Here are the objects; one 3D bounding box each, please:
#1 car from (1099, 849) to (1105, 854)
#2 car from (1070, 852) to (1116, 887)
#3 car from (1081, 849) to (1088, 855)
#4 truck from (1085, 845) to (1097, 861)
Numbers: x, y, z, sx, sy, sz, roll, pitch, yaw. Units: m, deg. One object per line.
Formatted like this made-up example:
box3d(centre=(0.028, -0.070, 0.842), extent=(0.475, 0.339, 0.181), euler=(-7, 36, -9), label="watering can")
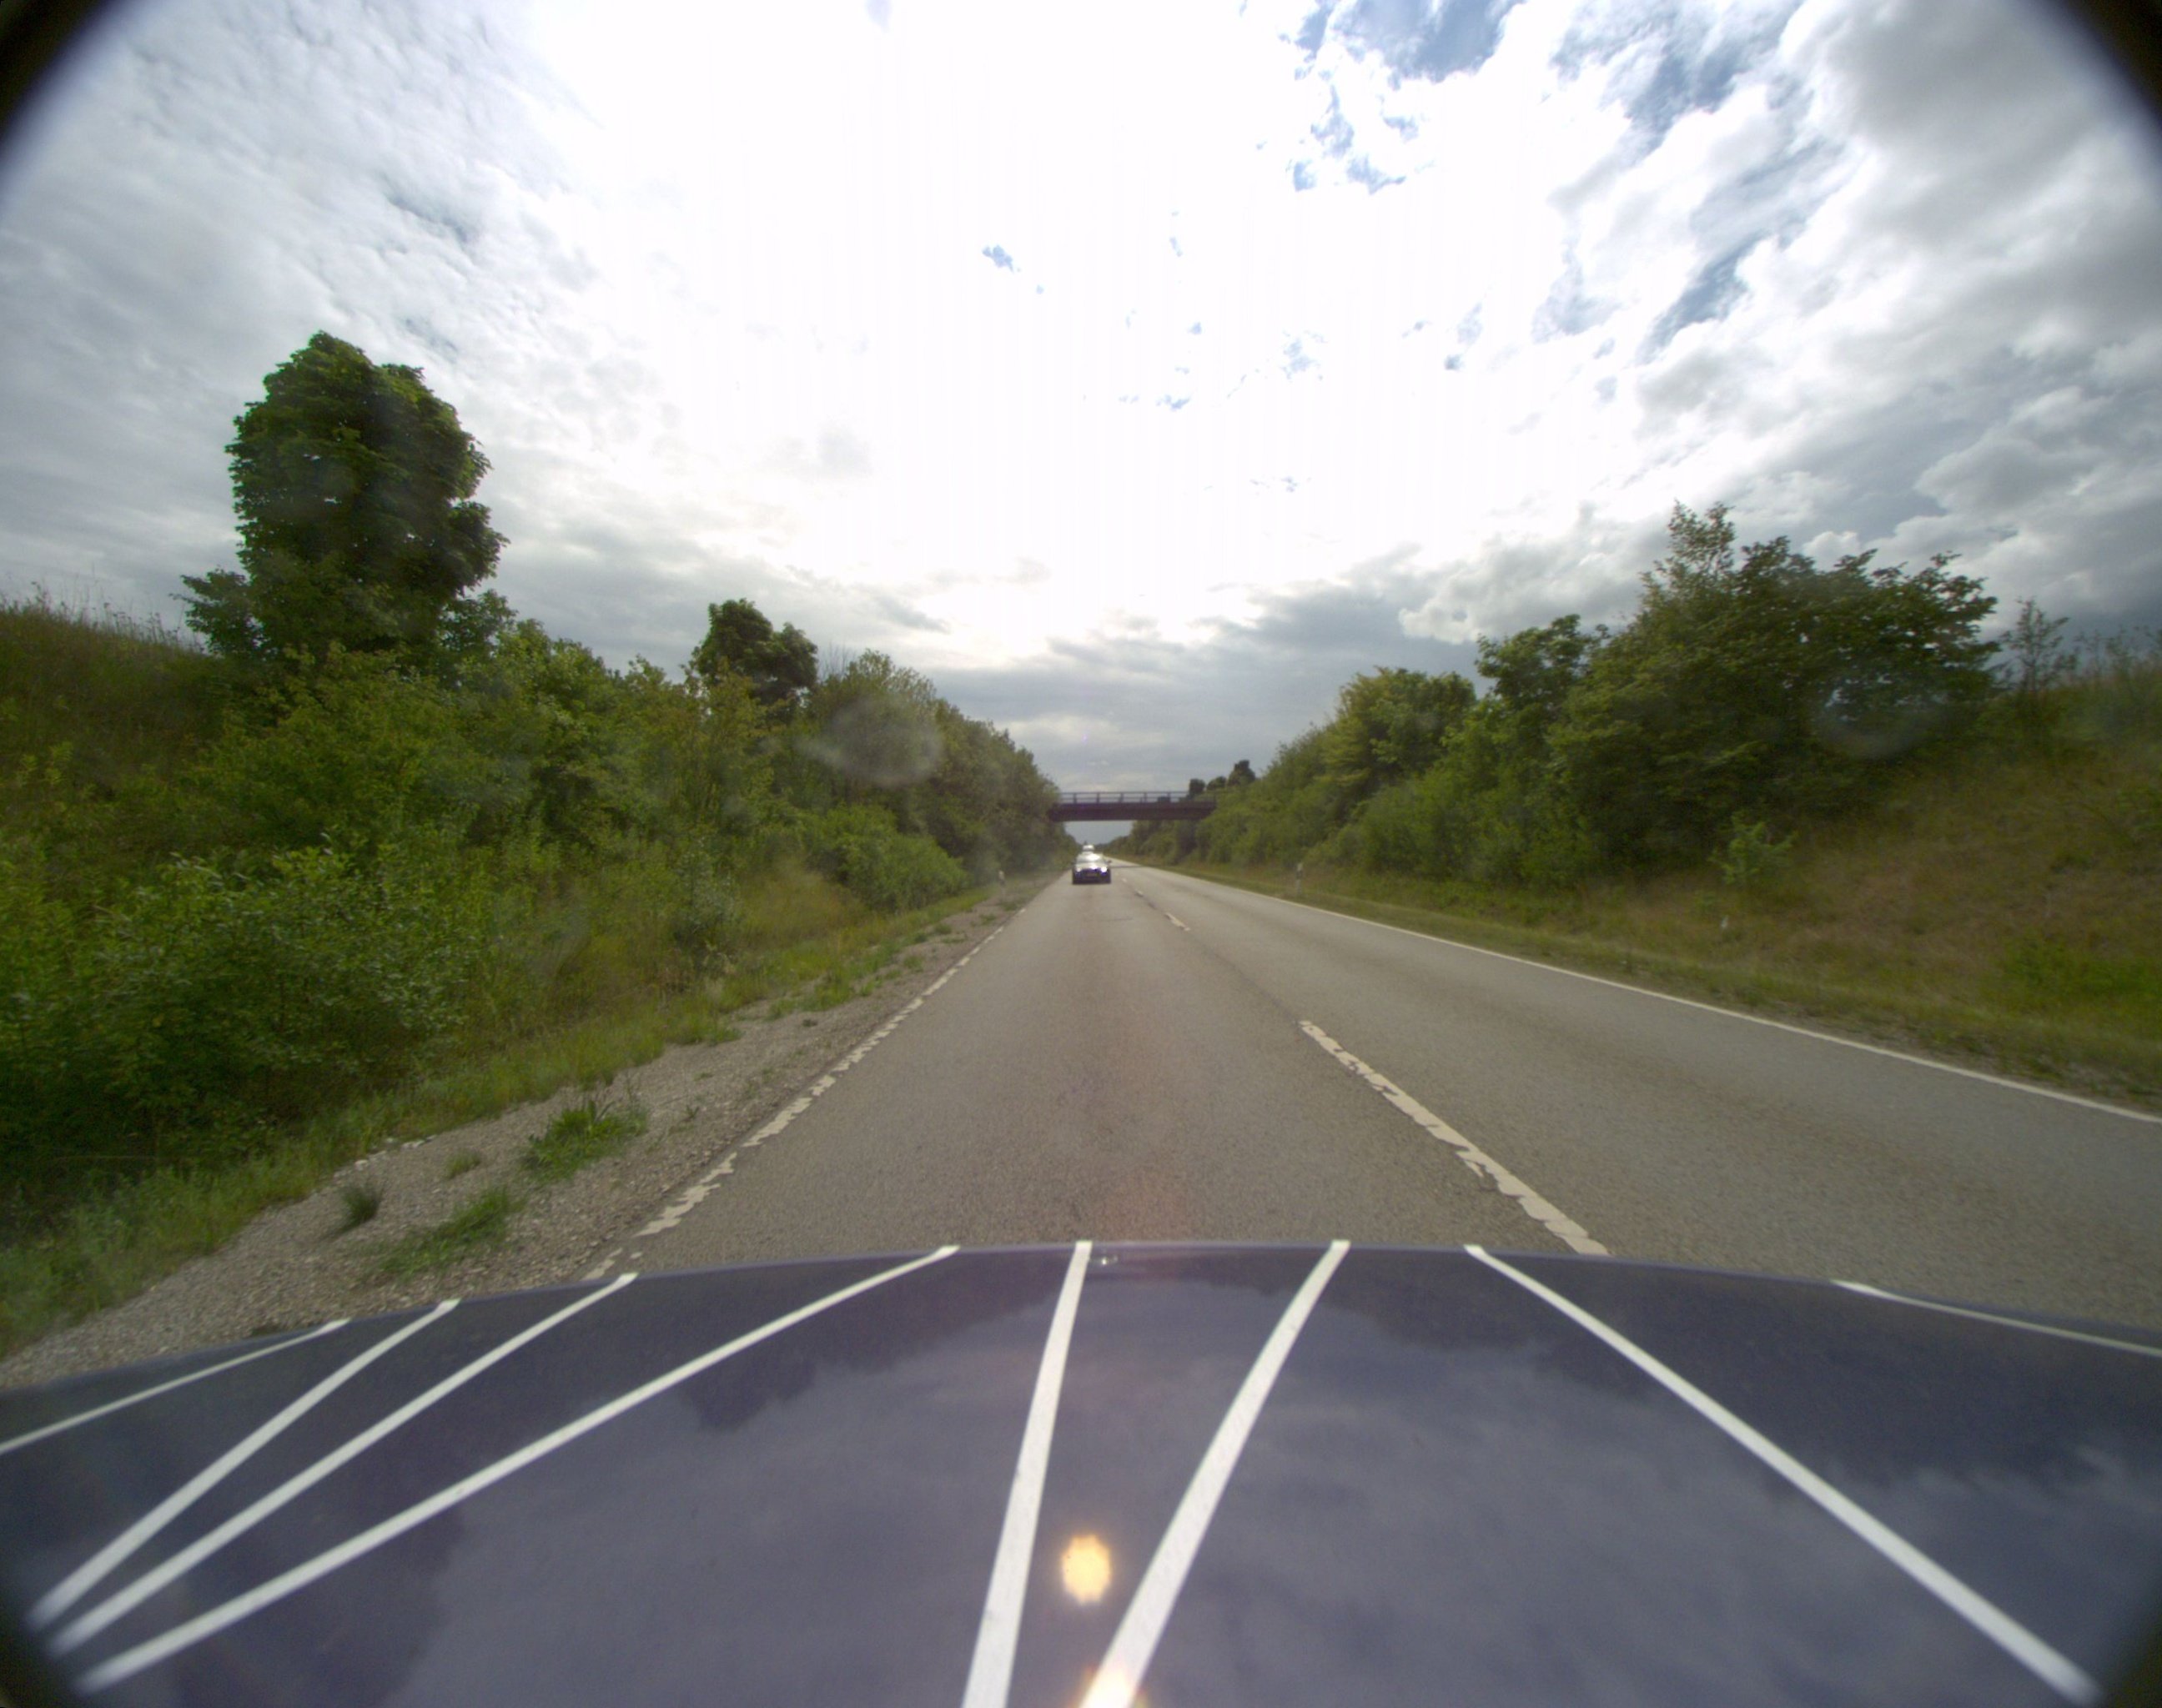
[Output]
box3d(centre=(7.460, -0.947, 265.767), extent=(1.892, 1.638, 3.999), euler=(-2, 0, 0), label="car")
box3d(centre=(0.575, 0.682, 36.134), extent=(1.998, 1.436, 4.640), euler=(-2, 1, 1), label="car")
box3d(centre=(0.977, -0.577, 223.855), extent=(1.893, 1.638, 3.999), euler=(-2, 0, -1), label="car")
box3d(centre=(1.718, -0.176, 127.942), extent=(1.802, 2.518, 6.685), euler=(-2, 1, 1), label="truck")
